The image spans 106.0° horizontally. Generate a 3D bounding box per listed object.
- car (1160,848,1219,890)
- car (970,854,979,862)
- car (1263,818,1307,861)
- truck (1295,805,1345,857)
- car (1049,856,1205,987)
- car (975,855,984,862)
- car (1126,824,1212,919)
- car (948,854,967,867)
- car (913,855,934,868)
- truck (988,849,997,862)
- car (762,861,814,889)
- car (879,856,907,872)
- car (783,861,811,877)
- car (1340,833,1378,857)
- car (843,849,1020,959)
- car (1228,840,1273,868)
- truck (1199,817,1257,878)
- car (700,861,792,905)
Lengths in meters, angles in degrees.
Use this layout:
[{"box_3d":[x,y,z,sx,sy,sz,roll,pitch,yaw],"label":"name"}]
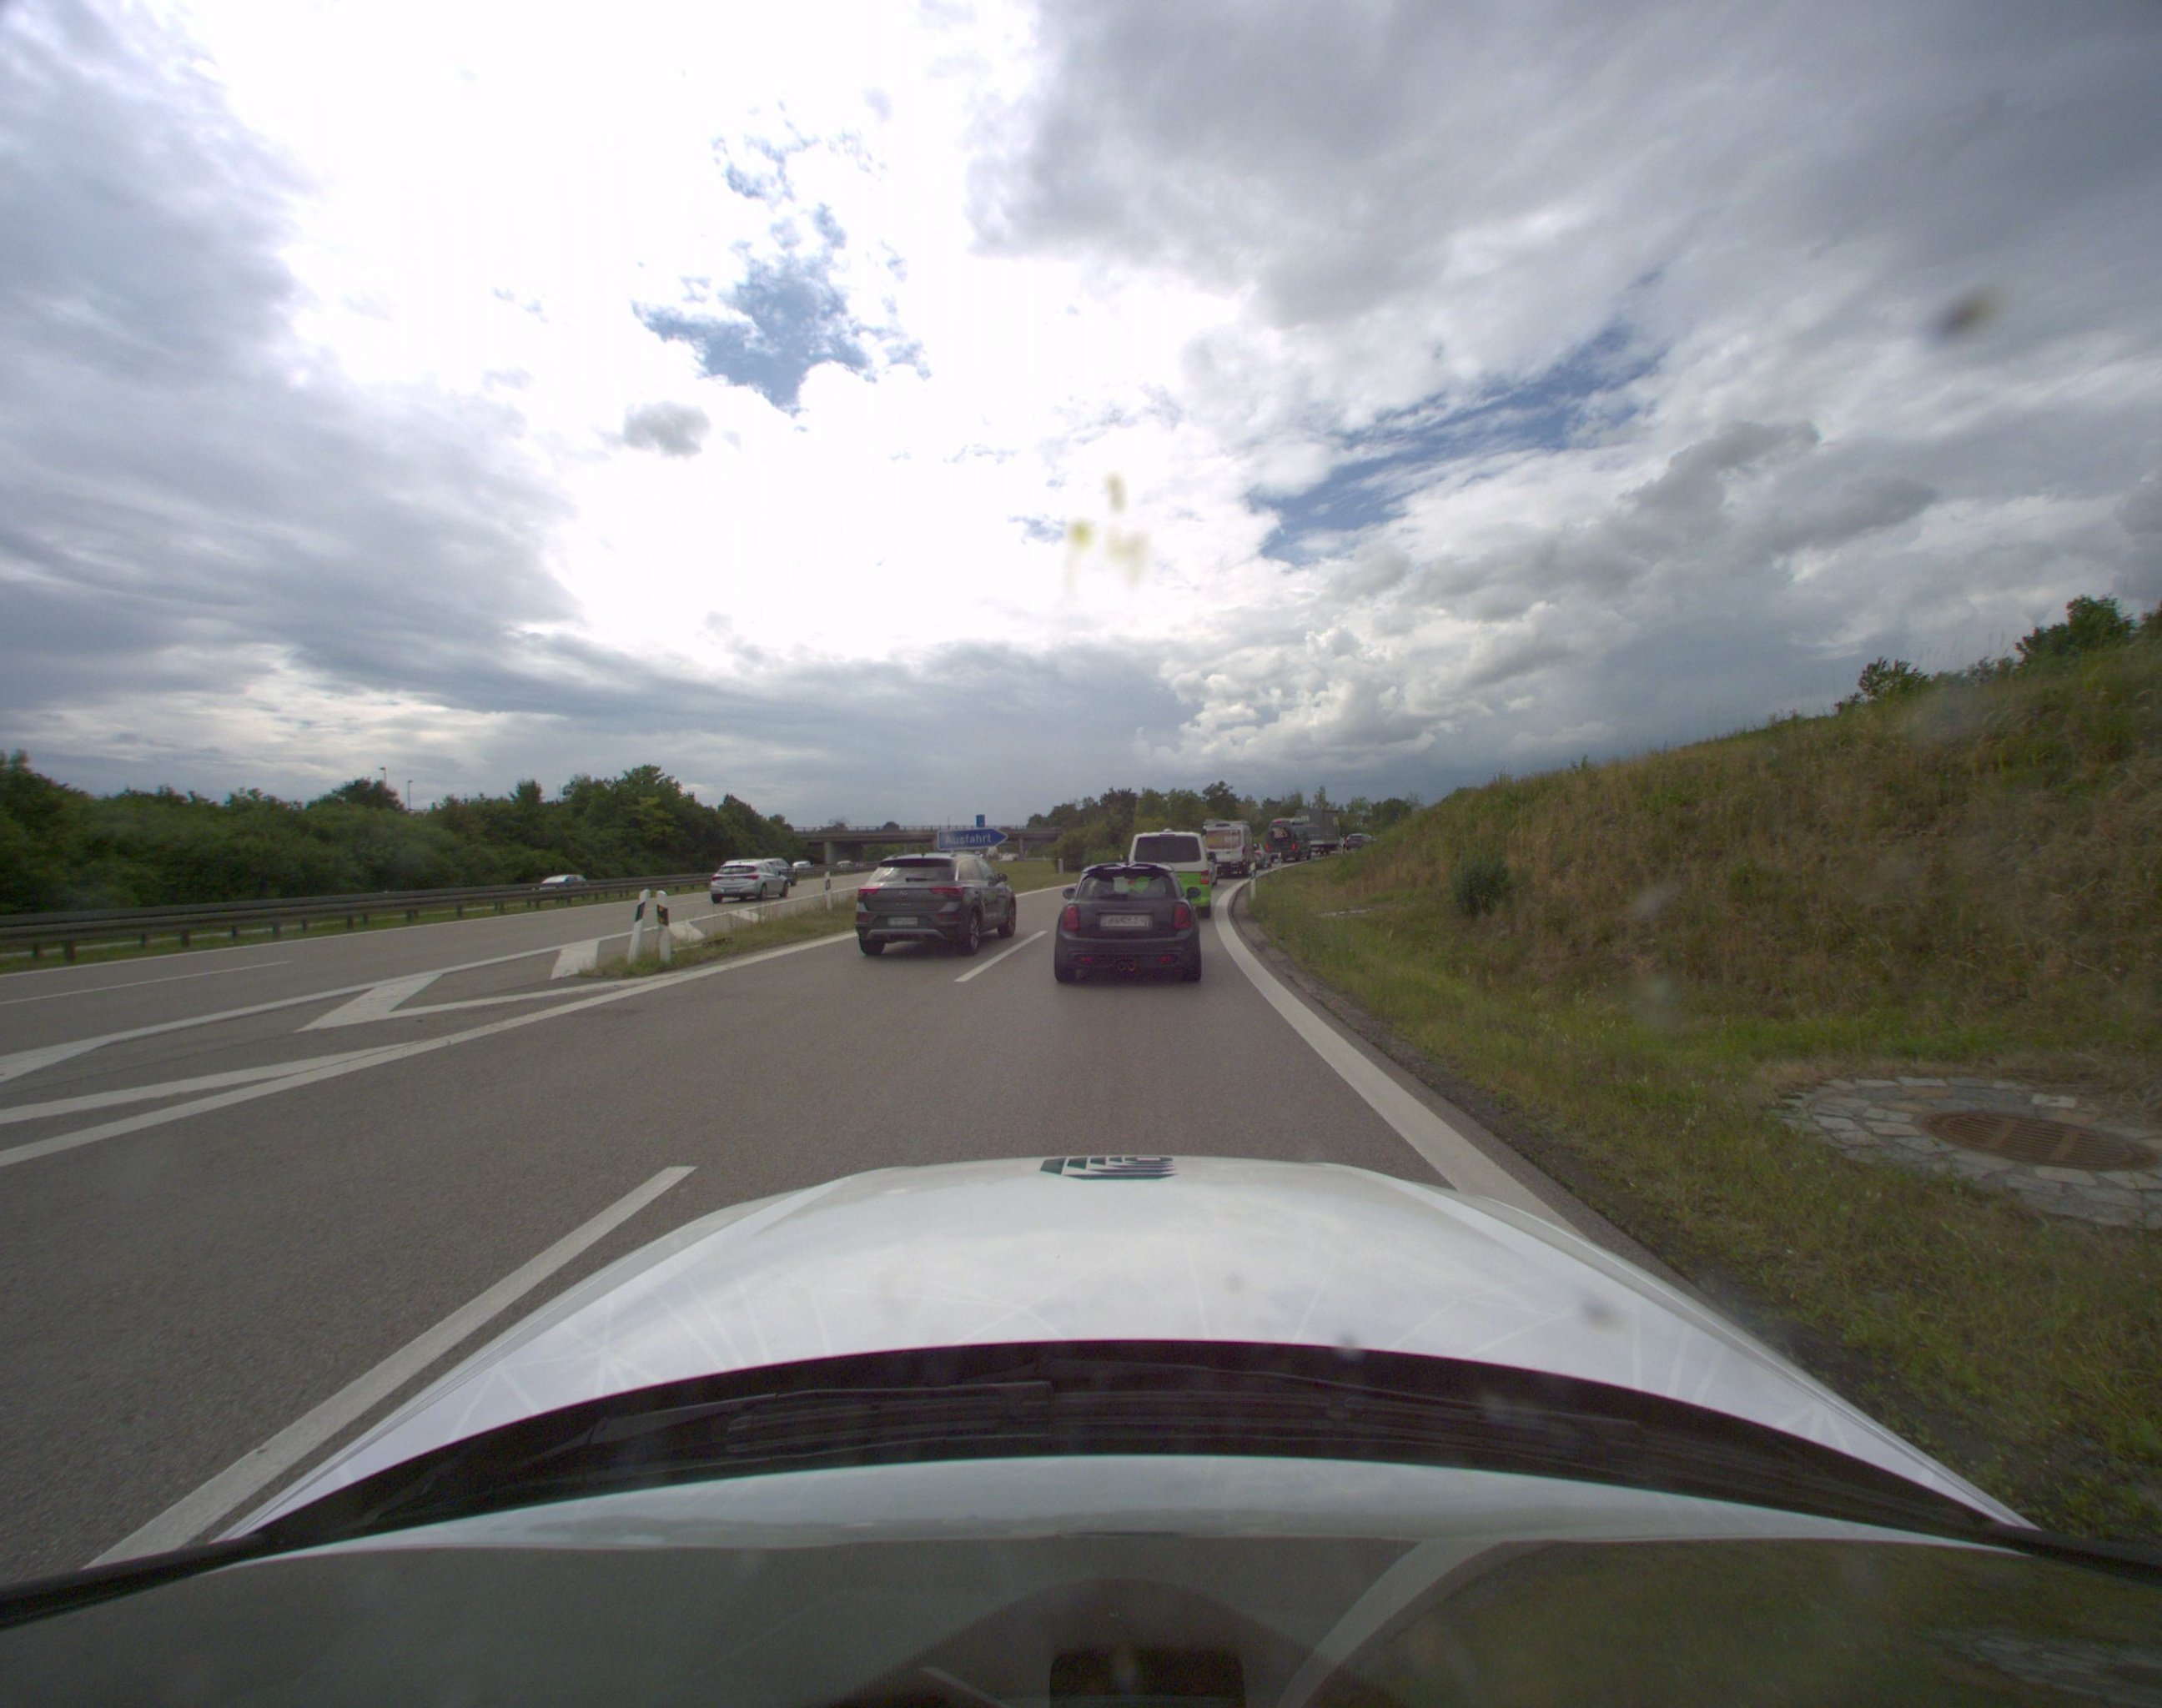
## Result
[{"box_3d":[4.082,0.512,30.139,1.750,1.398,3.738,-2,0,13],"label":"car"},{"box_3d":[-27.193,0.953,207.590,1.988,1.968,3.997,0,-1,-2],"label":"car"},{"box_3d":[13.757,-0.974,54.797,2.085,2.796,4.024,-1,1,26],"label":"car"},{"box_3d":[18.975,-1.706,64.407,2.207,3.906,6.054,-1,-1,32],"label":"truck"},{"box_3d":[0.647,0.763,10.973,1.719,1.413,3.729,-1,0,4],"label":"car"},{"box_3d":[-28.987,1.177,232.423,1.988,1.968,3.997,0,-1,-2],"label":"car"},{"box_3d":[2.197,0.370,19.383,1.773,2.013,4.011,-1,0,9],"label":"car"},{"box_3d":[-17.776,0.943,117.117,2.090,1.670,4.303,-2,0,-2],"label":"car"},{"box_3d":[-22.060,1.071,114.450,2.154,1.670,4.303,-2,0,-2],"label":"car"},{"box_3d":[-24.095,0.509,220.890,2.141,3.507,3.995,0,-1,-4],"label":"truck"},{"box_3d":[-16.641,1.154,46.444,1.777,1.398,4.298,-2,0,-6],"label":"car"},{"box_3d":[-20.576,1.067,89.340,2.090,1.670,4.303,-2,0,-2],"label":"car"},{"box_3d":[-32.680,1.700,93.891,1.990,1.651,3.993,-2,0,-5],"label":"car"},{"box_3d":[24.812,-0.755,72.541,1.974,2.014,4.025,-1,-1,38],"label":"car"},{"box_3d":[-2.308,0.740,13.665,1.786,1.556,3.969,-1,-1,7],"label":"car"},{"box_3d":[9.731,0.000,46.553,1.850,1.510,4.021,-1,0,21],"label":"car"},{"box_3d":[7.049,-0.331,38.649,2.162,2.658,5.130,-2,1,16],"label":"truck"},{"box_3d":[-12.220,1.022,30.009,1.775,1.398,4.026,-2,0,-2],"label":"car"}]
